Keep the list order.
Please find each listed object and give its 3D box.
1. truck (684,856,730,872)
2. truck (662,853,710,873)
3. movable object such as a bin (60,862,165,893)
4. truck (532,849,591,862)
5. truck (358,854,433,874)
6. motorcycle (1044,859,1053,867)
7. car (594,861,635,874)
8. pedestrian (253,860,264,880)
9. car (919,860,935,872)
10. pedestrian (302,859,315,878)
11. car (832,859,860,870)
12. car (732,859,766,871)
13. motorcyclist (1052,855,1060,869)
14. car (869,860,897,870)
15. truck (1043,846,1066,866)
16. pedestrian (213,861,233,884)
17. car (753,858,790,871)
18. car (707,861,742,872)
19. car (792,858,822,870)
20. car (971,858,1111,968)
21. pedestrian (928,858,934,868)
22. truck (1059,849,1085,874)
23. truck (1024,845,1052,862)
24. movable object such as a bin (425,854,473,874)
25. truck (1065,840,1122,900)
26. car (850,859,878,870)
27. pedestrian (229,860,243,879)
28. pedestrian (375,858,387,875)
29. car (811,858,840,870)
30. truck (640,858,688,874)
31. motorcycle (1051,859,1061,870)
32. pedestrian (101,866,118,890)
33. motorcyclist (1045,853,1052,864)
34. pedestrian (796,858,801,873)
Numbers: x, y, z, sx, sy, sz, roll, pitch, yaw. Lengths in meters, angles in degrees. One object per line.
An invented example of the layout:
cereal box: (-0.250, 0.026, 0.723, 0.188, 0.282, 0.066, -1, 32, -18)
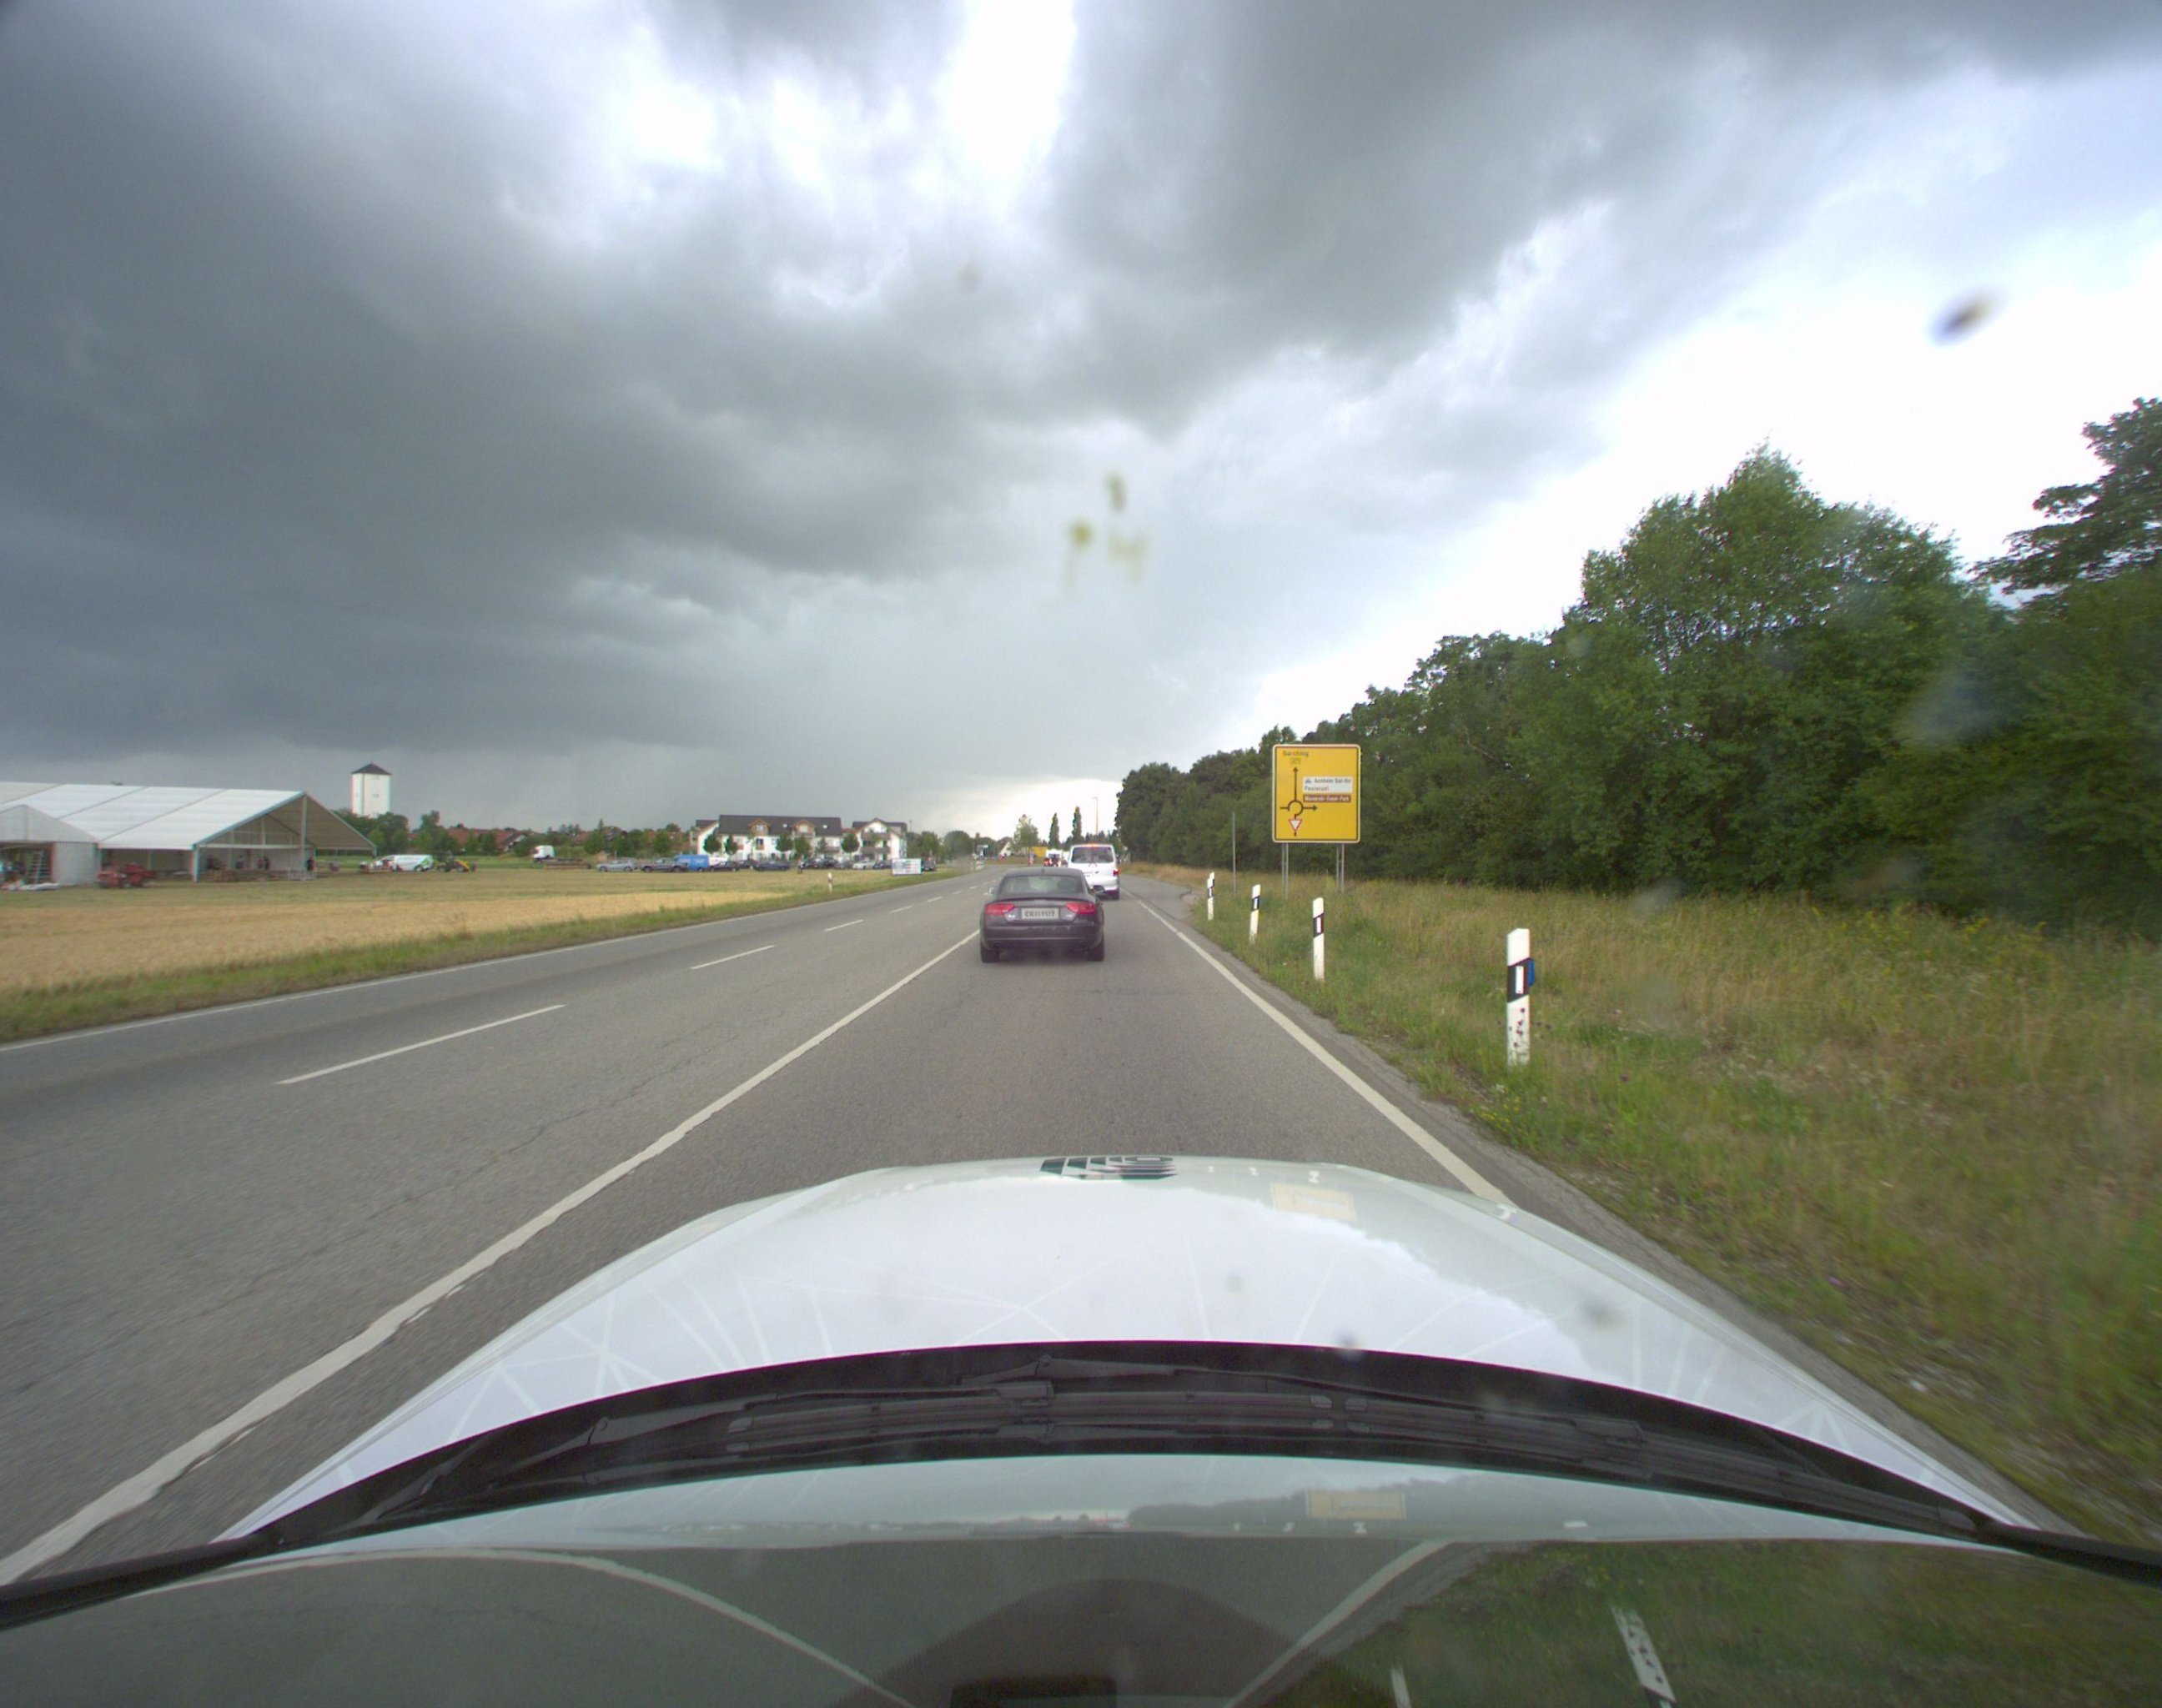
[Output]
truck: (-51.444, 1.379, 112.173, 5.589, 2.196, 2.587, 0, 0, -24)
truck: (-50.771, 1.136, 104.731, 5.472, 2.446, 2.375, 0, -1, -24)
movable object such as a bin: (-62.155, 1.474, 52.407, 2.600, 1.864, 4.439, 0, 0, -24)
truck: (-96.403, 0.287, 151.213, 9.295, 2.530, 3.306, 0, 0, 7)
truck: (-78.041, 1.087, 92.856, 6.079, 2.217, 2.696, 0, -1, -28)
motorcycle: (-4.142, 1.149, 103.256, 0.943, 1.019, 2.279, 0, 0, -6)
car: (-58.173, 1.664, 101.683, 4.318, 1.461, 1.875, 0, 0, -27)
pedestrian: (-75.186, 1.455, 74.411, 0.718, 1.744, 0.660, -1, -1, 41)
car: (-20.138, 1.515, 106.296, 1.995, 1.442, 3.985, 0, 0, -11)
pedestrian: (-73.451, 1.388, 77.461, 0.691, 1.776, 0.689, 0, -1, -24)
car: (-34.414, 1.535, 119.271, 1.978, 1.536, 4.231, -1, 0, 18)
car: (-50.224, 1.634, 123.359, 4.642, 1.697, 1.986, 0, 0, -21)
motorcyclist: (-2.431, 0.802, 80.162, 0.769, 1.383, 0.820, 0, -1, 0)
car: (-28.760, 1.579, 118.570, 1.978, 1.446, 4.231, -1, 0, 18)
truck: (-3.781, 0.322, 114.400, 2.624, 2.737, 5.852, 0, 0, -7)
pedestrian: (-75.255, 1.646, 71.444, 0.876, 2.014, 0.764, 0, -1, -14)
car: (-42.371, 1.426, 111.689, 4.733, 1.697, 1.986, 0, 0, -21)
car: (-47.891, 1.684, 109.362, 4.170, 1.519, 1.986, 0, 0, -21)
car: (-40.814, 1.478, 121.406, 1.978, 1.629, 4.231, -1, 0, 18)
car: (-0.571, 0.812, 13.139, 1.869, 1.454, 4.175, -1, 0, -1)
pedestrian: (-23.508, 1.436, 127.997, 0.695, 1.586, 0.660, -1, -1, 16)
truck: (-0.748, 0.631, 69.276, 2.187, 2.014, 5.083, 0, 0, 0)
truck: (-9.431, -0.198, 176.019, 3.587, 3.578, 9.893, 0, 0, -19)
movable object such as a bin: (-71.470, 1.105, 92.198, 4.008, 2.243, 1.868, 0, -1, -29)
truck: (0.422, 0.544, 29.743, 1.898, 1.998, 4.627, 0, 0, 0)
car: (-31.654, 1.515, 118.914, 1.978, 1.446, 4.231, -1, 0, 18)
pedestrian: (-76.565, 1.400, 73.782, 0.750, 1.779, 0.736, -1, -1, 36)
pedestrian: (-74.348, 1.325, 86.513, 0.690, 1.776, 0.691, 0, -1, -17)
car: (-37.570, 1.479, 119.664, 1.978, 1.629, 4.231, -1, 0, 18)
truck: (-51.391, 1.447, 100.452, 5.255, 1.920, 2.093, 0, -1, -27)
motorcycle: (-2.454, 1.048, 80.283, 0.917, 1.094, 2.188, 0, 0, 0)
pedestrian: (-64.579, 1.591, 54.142, 0.470, 1.627, 0.581, 0, -1, -13)
motorcyclist: (-4.141, 0.581, 103.250, 0.785, 1.356, 0.852, 0, 0, -7)
pedestrian: (-34.531, 1.379, 99.545, 0.549, 1.786, 0.675, 0, -1, -12)
